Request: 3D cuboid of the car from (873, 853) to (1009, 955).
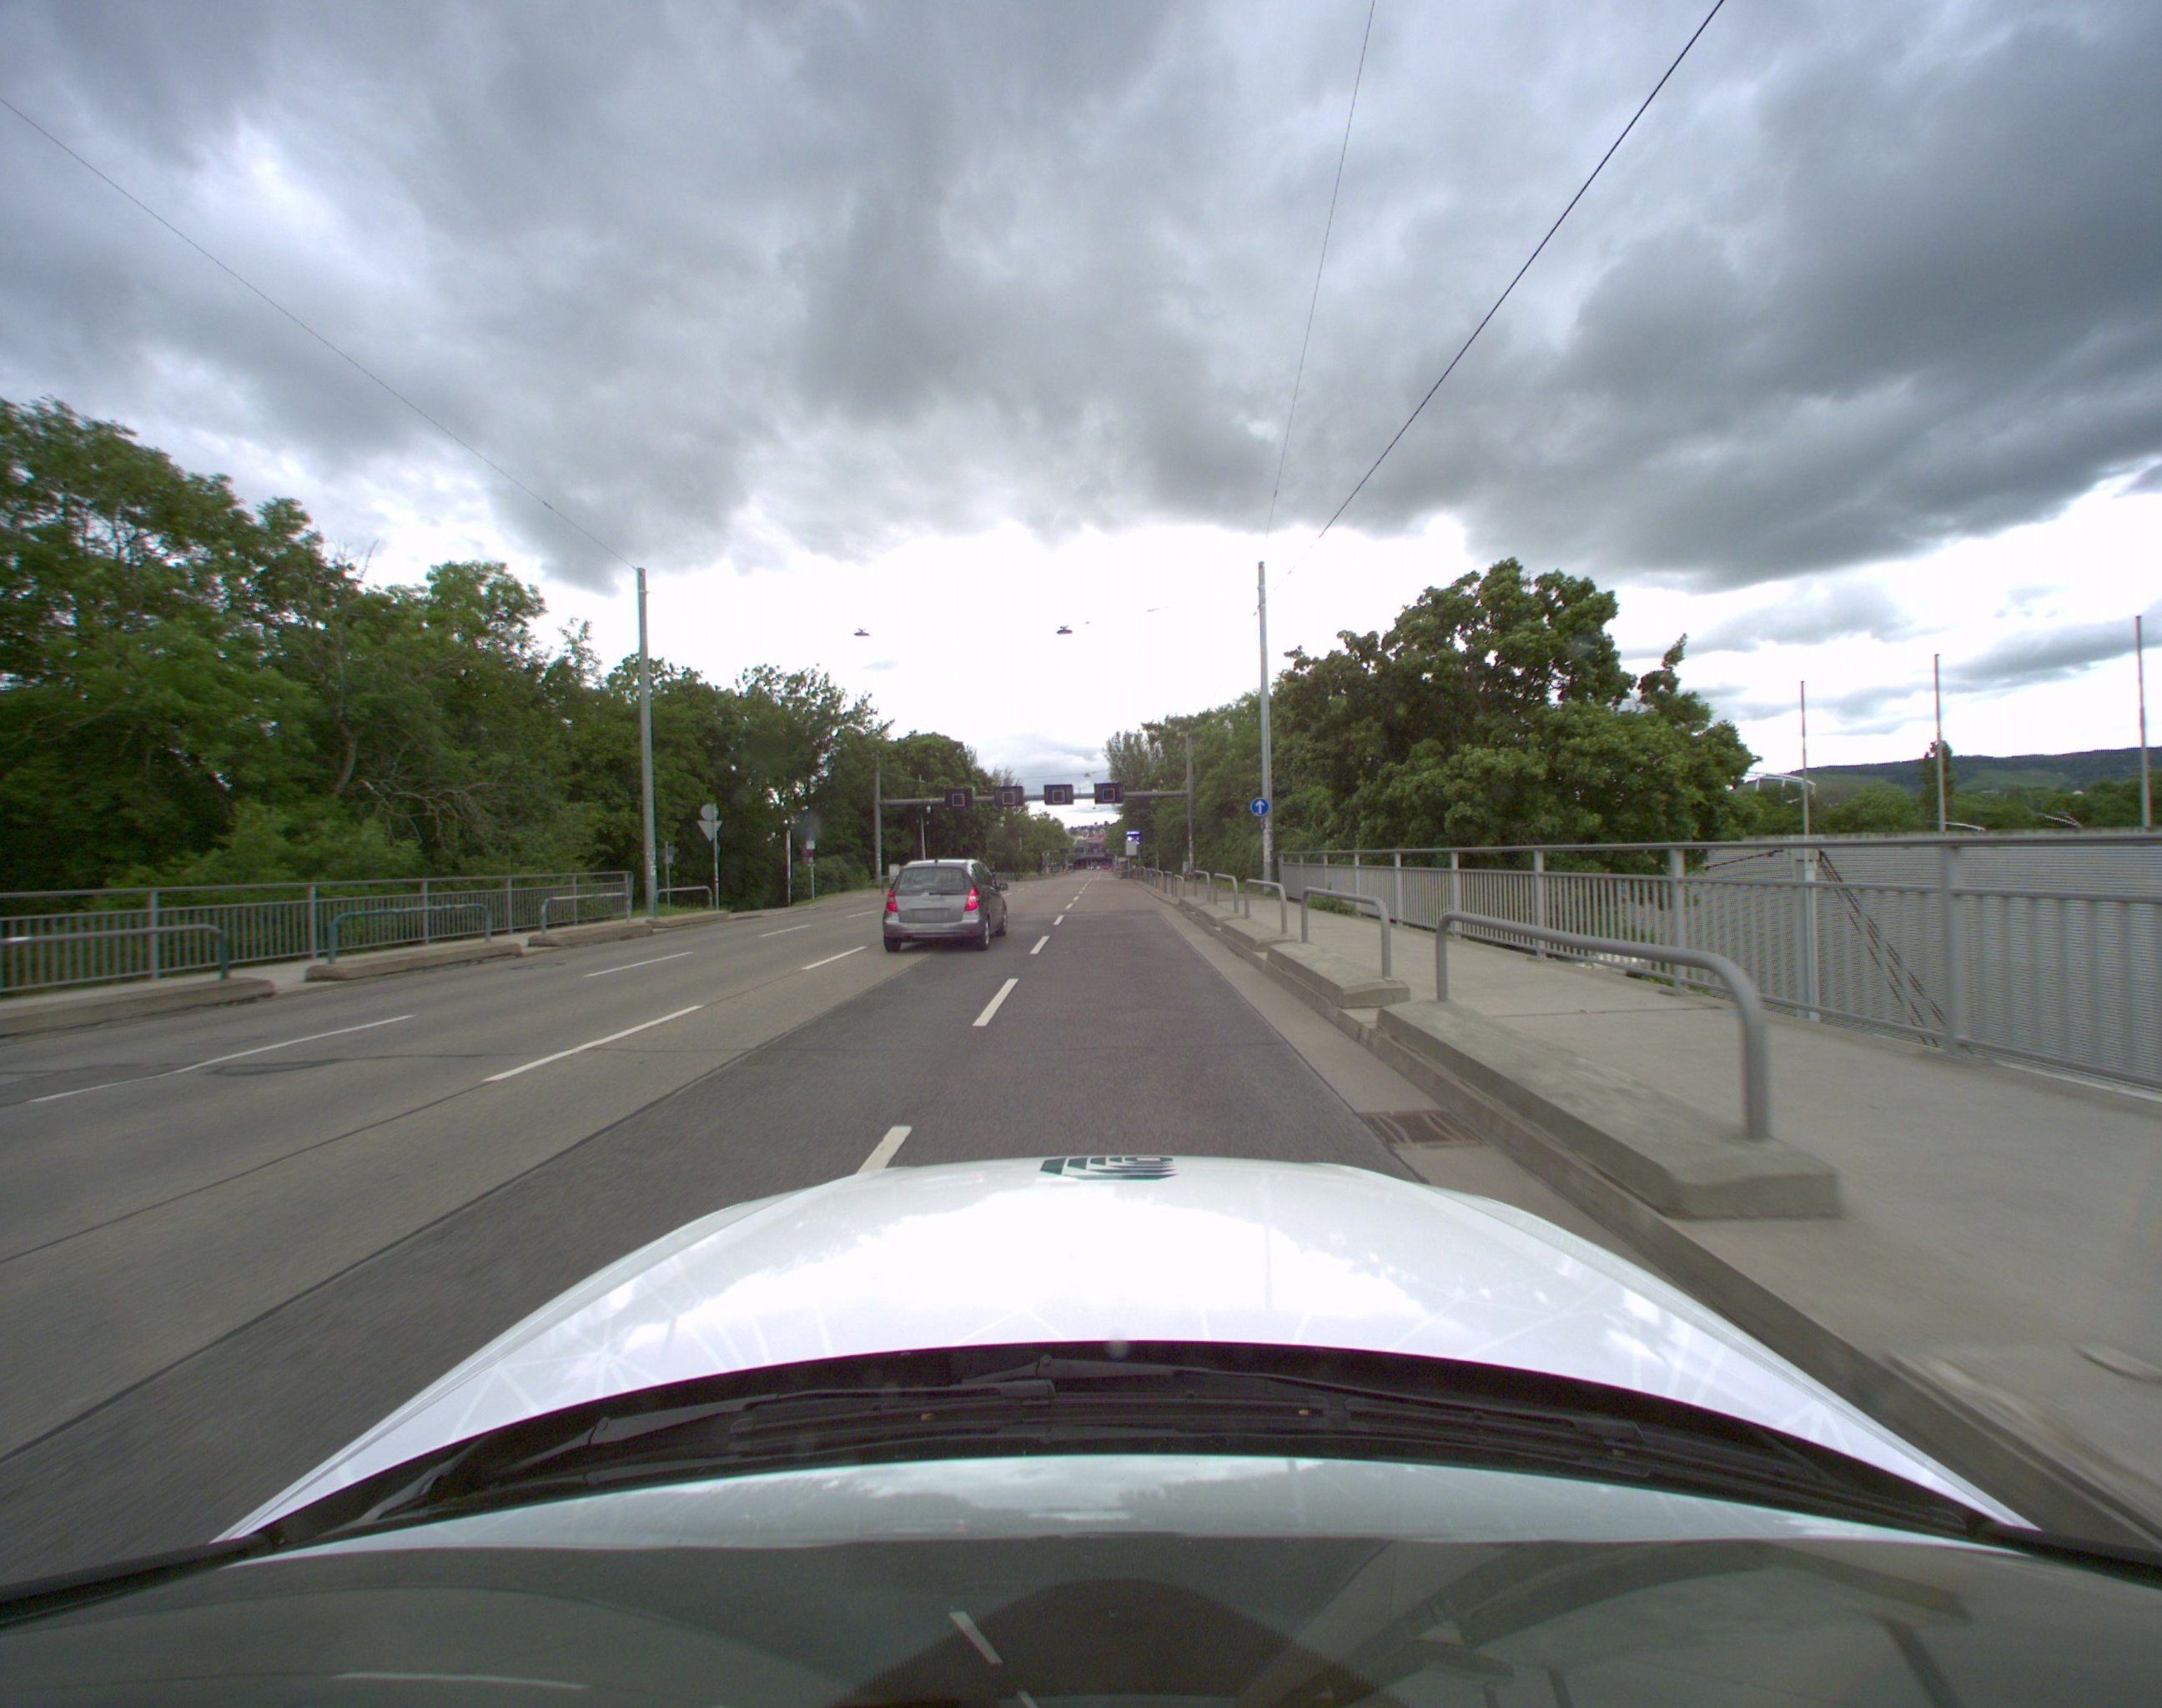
[{"bbox_3d":[-2.426,0.805,15.049,1.739,1.550,3.872,-1,1,1],"label":"car"}]
